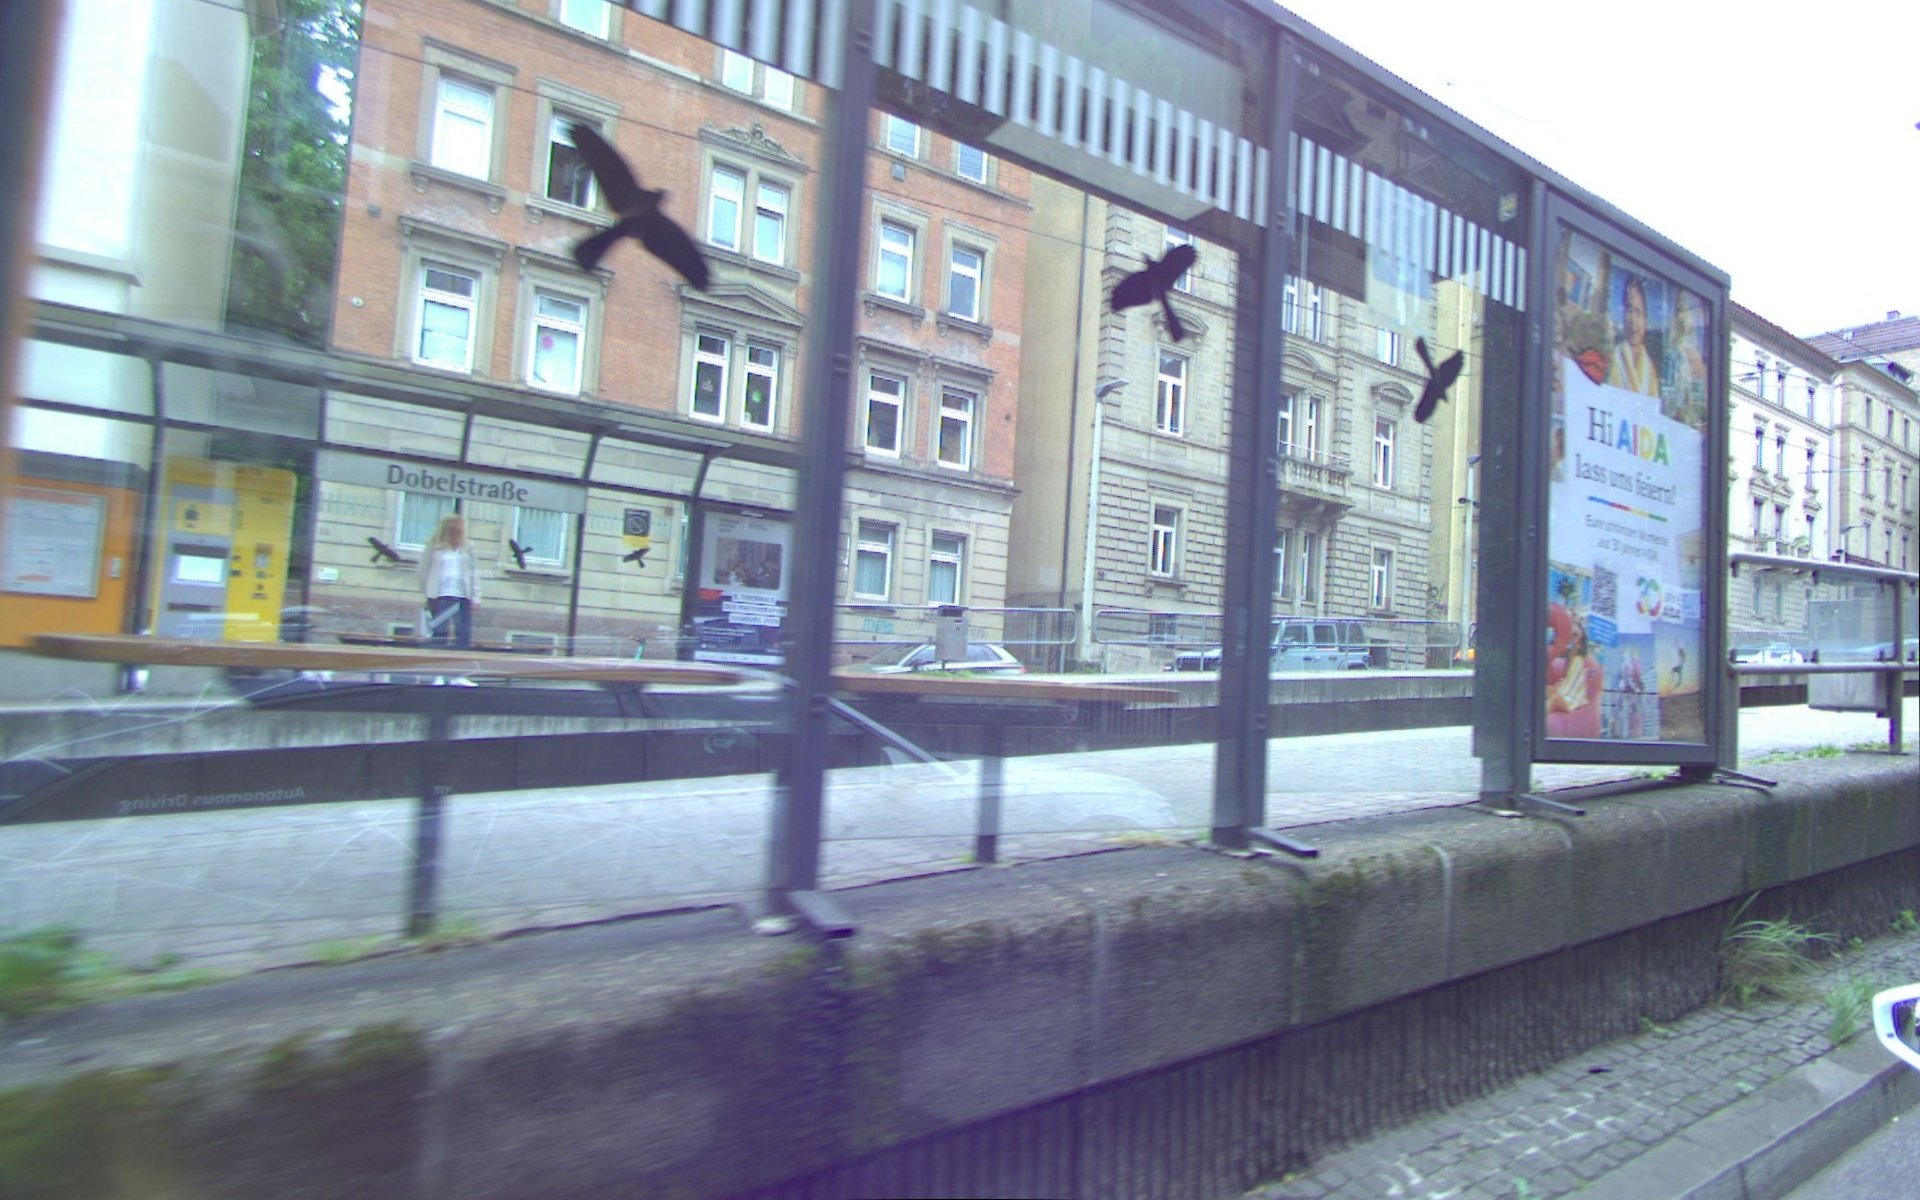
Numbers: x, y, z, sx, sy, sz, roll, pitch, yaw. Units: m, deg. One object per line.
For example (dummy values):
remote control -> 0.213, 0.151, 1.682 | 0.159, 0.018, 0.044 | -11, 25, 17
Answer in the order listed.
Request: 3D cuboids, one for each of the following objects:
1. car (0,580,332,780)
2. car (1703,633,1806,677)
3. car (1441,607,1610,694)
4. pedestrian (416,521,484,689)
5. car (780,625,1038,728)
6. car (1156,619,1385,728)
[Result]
car -> -8.583, 0.745, 10.085 | 3.822, 1.788, 1.813 | 2, -2, -33
car -> 29.638, 2.017, 37.463 | 4.215, 1.490, 1.757 | 2, -1, -33
car -> 16.573, 1.452, 29.362 | 5.394, 2.335, 1.983 | 2, -2, -32
pedestrian -> -4.968, 0.054, 9.776 | 0.534, 1.583, 0.459 | 1, -1, -32
car -> -0.878, 1.324, 18.279 | 4.367, 1.667, 1.852 | 2, -2, -33
car -> 6.122, 1.372, 19.694 | 4.367, 1.920, 1.982 | 2, -2, -33
